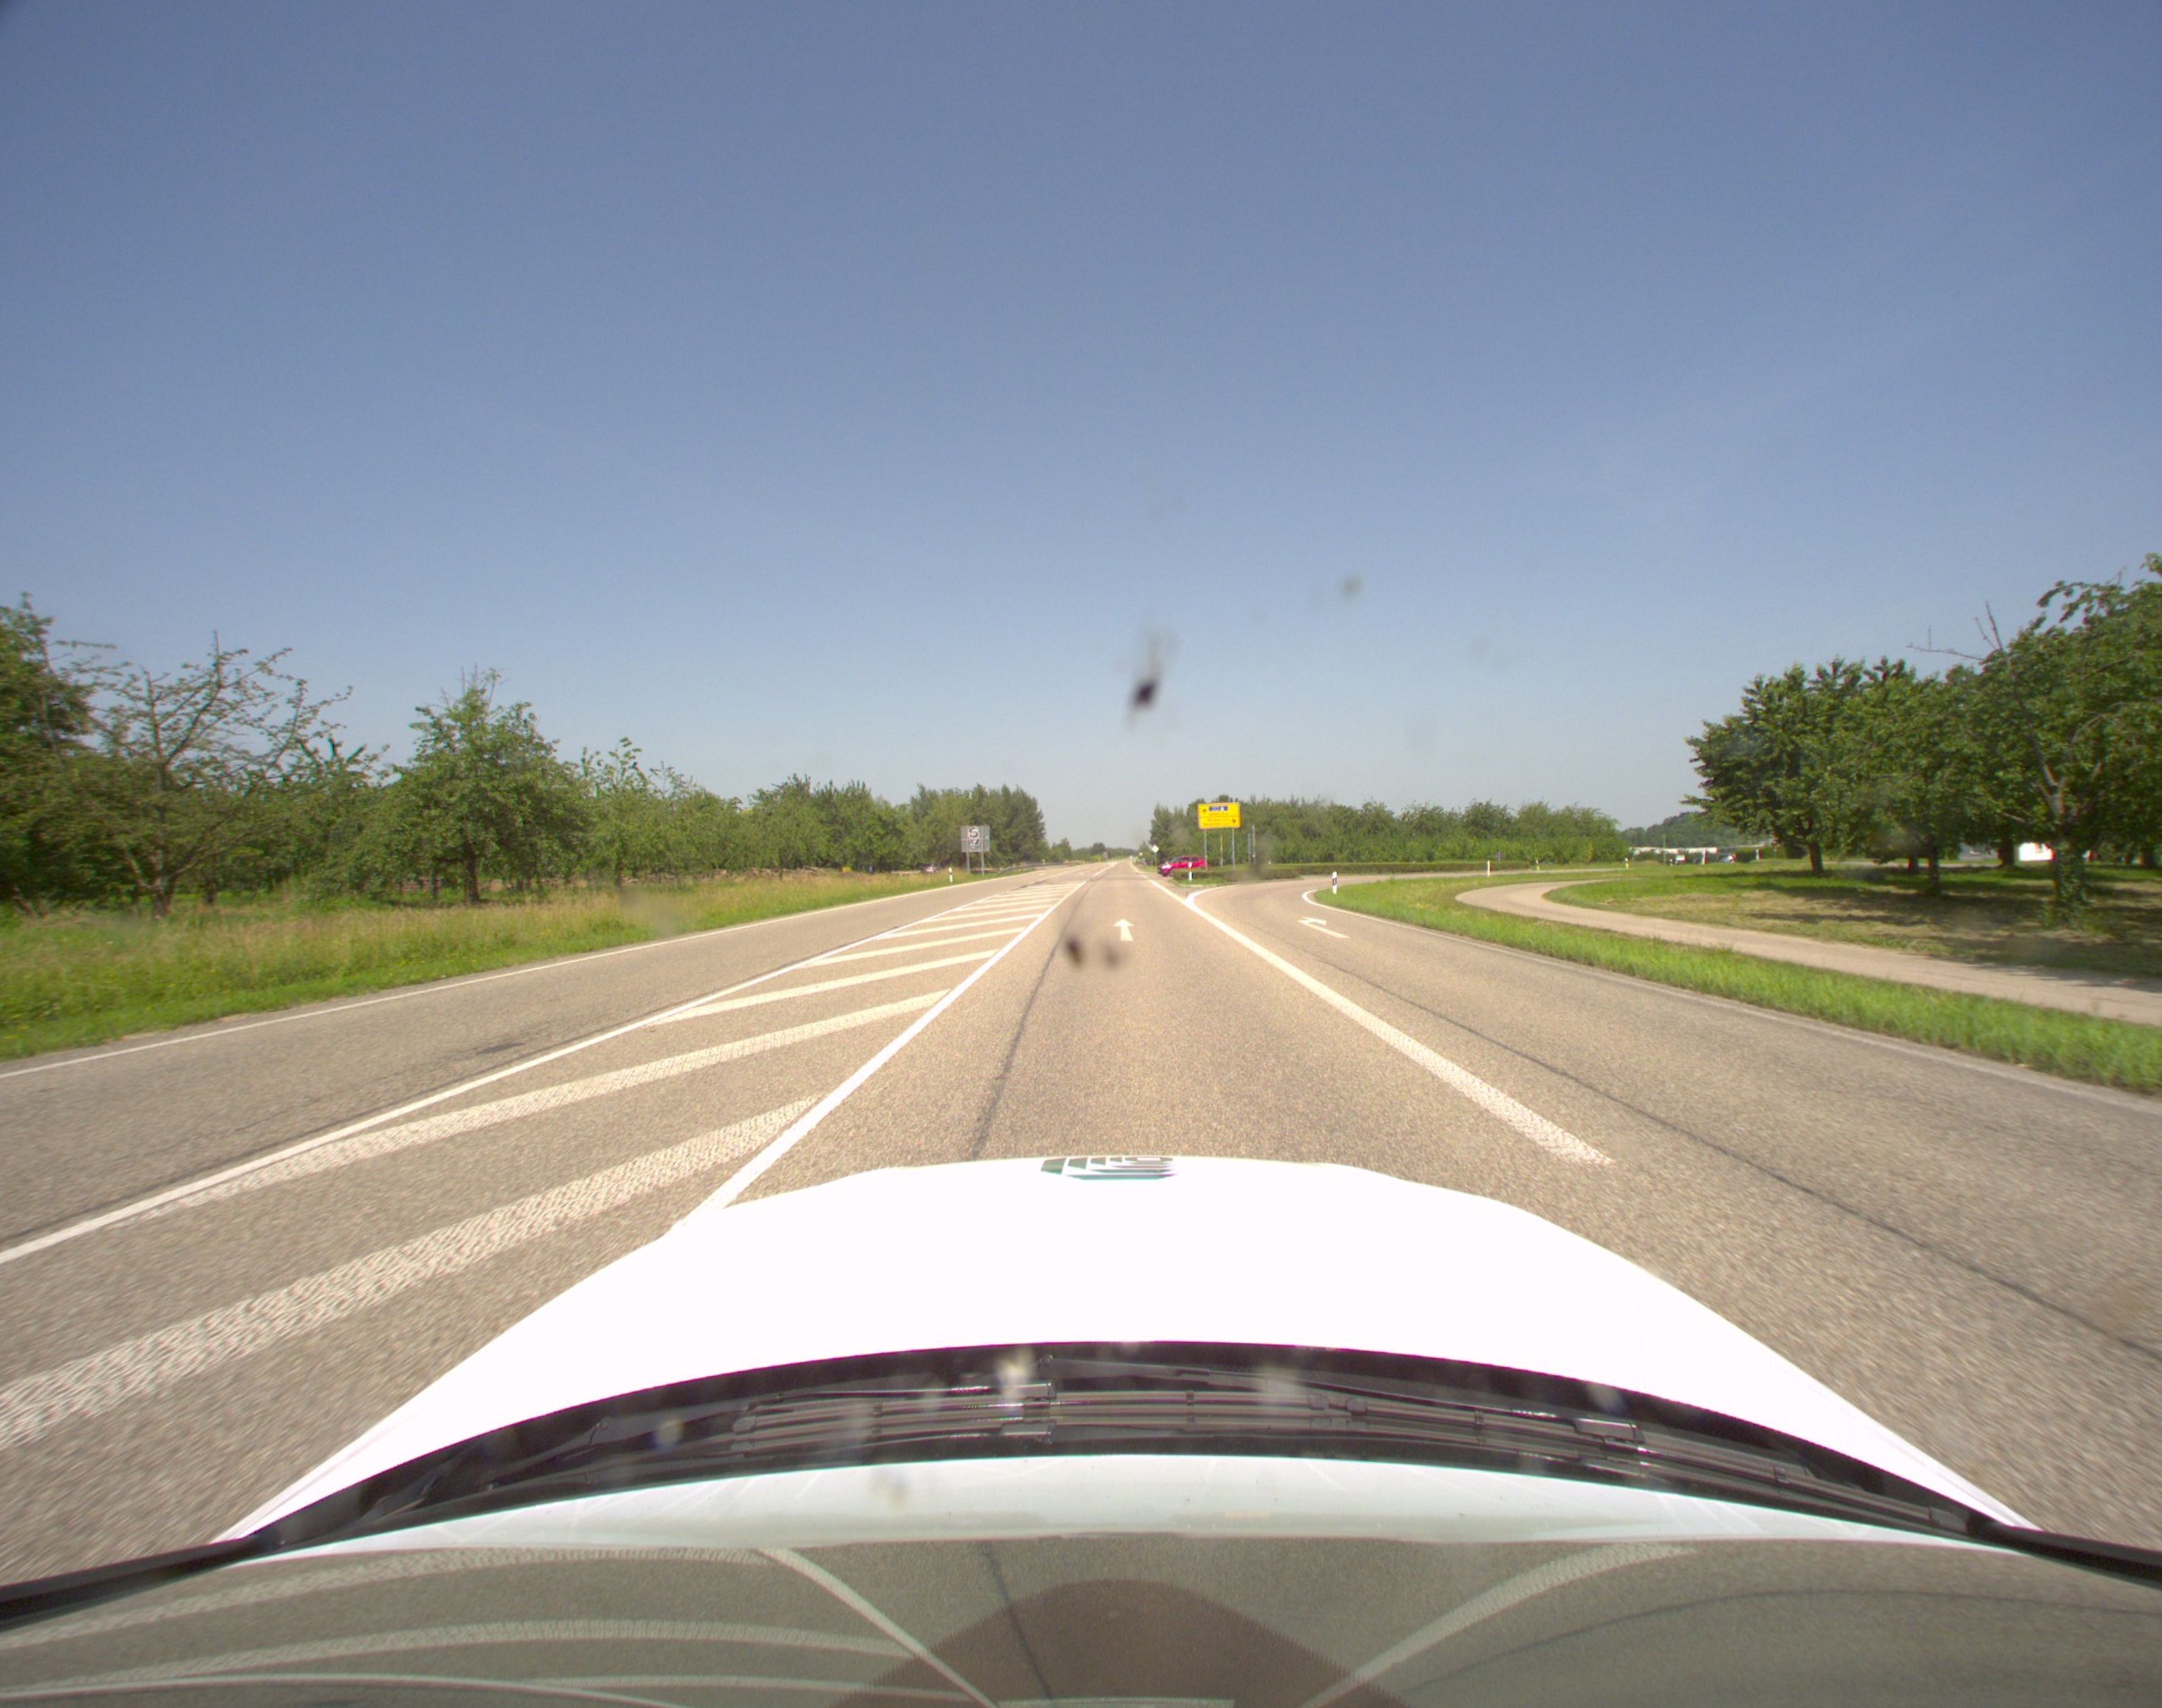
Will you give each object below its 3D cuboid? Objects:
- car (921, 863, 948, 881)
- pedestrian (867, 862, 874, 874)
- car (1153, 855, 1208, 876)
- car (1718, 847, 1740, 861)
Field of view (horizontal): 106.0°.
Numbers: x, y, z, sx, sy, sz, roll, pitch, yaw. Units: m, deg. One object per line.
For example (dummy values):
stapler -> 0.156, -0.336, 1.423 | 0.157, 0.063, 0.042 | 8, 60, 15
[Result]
car -> -12.728, 1.550, 71.089 | 1.700, 1.423, 4.040 | -2, 0, -2
pedestrian -> -21.712, 1.438, 84.100 | 0.570, 1.297, 0.556 | -1, -1, 4
car -> 7.399, 0.870, 60.704 | 3.747, 1.493, 1.663 | 0, 0, -15
car -> 80.614, -0.025, 101.319 | 1.768, 1.684, 4.026 | -1, 0, 33
